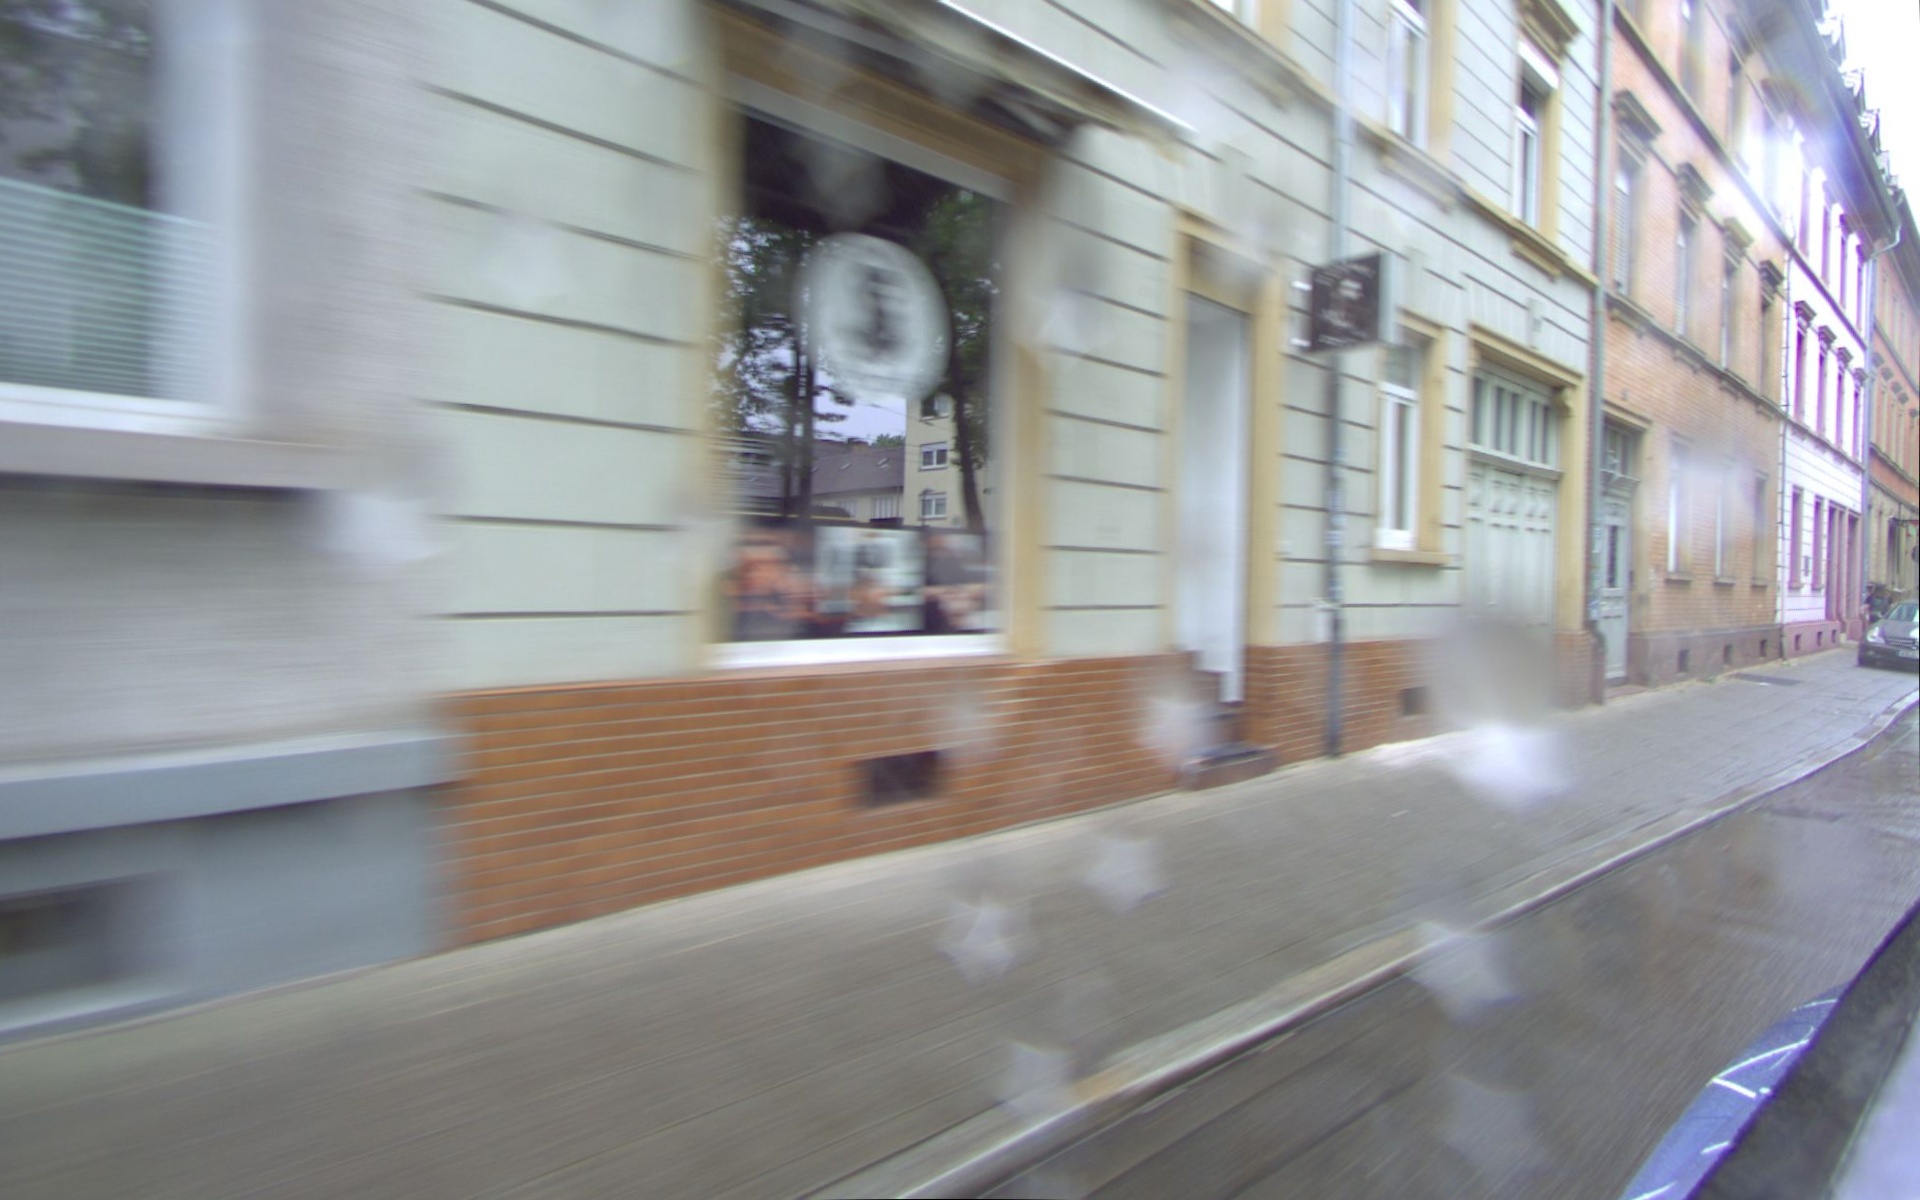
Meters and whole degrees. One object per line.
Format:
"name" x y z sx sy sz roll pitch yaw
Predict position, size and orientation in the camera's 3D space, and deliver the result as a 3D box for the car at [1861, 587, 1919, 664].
"car" 19.724 0.534 20.156 4.087 1.383 1.978 0 6 -40
